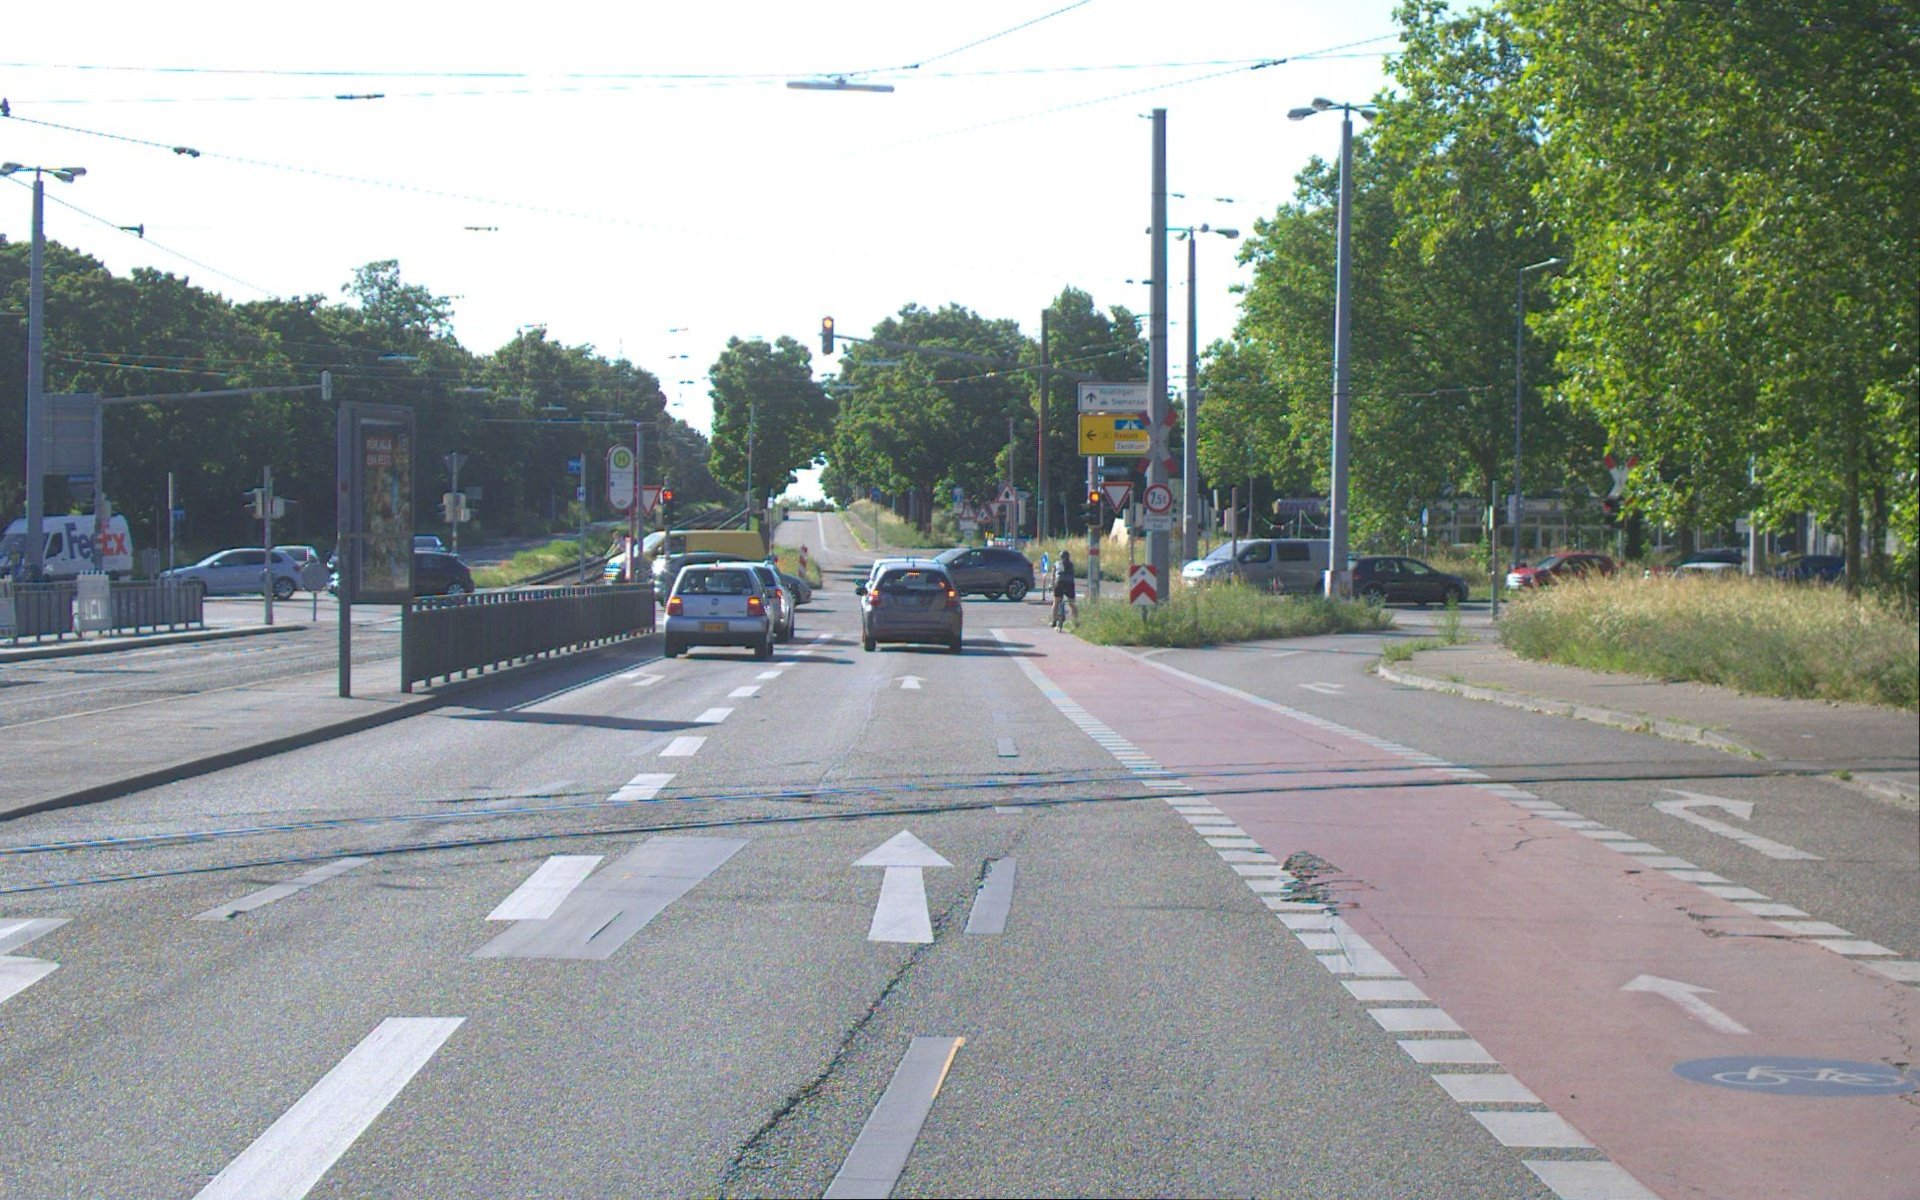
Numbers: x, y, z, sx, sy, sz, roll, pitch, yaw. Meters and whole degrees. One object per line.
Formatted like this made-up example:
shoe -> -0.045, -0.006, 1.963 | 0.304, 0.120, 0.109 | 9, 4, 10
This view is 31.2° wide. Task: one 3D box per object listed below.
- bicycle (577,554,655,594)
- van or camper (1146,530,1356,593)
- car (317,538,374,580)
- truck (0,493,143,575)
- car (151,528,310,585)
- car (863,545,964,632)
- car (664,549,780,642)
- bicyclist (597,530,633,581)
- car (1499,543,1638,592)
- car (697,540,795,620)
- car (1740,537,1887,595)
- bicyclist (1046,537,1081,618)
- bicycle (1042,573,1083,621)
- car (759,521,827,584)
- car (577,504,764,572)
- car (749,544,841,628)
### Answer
bicycle -> -11.130, -0.841, 111.141 | 2.395, 1.258, 0.817 | 0, 1, -18
van or camper -> 8.704, -1.147, 102.704 | 5.966, 1.822, 2.001 | 0, 1, -22
car -> -22.746, -1.517, 127.333 | 1.832, 1.543, 4.285 | 0, 1, -7
truck -> -28.910, -2.107, 110.573 | 1.995, 2.556, 6.817 | 0, 1, 17
car -> -20.560, -1.230, 96.894 | 3.987, 1.468, 1.752 | 2, 0, -34
car -> -0.830, -0.218, 59.533 | 1.668, 1.457, 3.586 | 1, 1, -2
car -> -3.702, -0.082, 53.919 | 1.619, 1.413, 3.351 | 0, 0, -1
bicyclist -> -11.147, -1.429, 111.104 | 1.006, 1.642, 0.817 | 0, 1, -18
car -> 18.961, -1.022, 107.149 | 4.002, 1.398, 1.610 | -2, 2, -21
car -> -4.030, -0.382, 65.216 | 1.619, 1.452, 4.085 | 1, 0, -1
car -> 29.934, -1.203, 120.635 | 4.686, 1.873, 2.001 | 2, 0, -23
bicyclist -> 2.210, -0.475, 73.514 | 0.666, 1.710, 0.948 | 2, 0, -1
bicycle -> 2.195, -0.072, 73.705 | 0.722, 0.985, 2.876 | 2, 0, -1
car -> -5.546, -1.569, 114.661 | 1.993, 2.007, 4.491 | 2, 0, 0
car -> -8.647, -1.849, 102.845 | 5.154, 1.873, 2.000 | 2, 0, -27
car -> -3.150, -0.284, 66.356 | 1.611, 1.557, 4.288 | 1, 1, -1
